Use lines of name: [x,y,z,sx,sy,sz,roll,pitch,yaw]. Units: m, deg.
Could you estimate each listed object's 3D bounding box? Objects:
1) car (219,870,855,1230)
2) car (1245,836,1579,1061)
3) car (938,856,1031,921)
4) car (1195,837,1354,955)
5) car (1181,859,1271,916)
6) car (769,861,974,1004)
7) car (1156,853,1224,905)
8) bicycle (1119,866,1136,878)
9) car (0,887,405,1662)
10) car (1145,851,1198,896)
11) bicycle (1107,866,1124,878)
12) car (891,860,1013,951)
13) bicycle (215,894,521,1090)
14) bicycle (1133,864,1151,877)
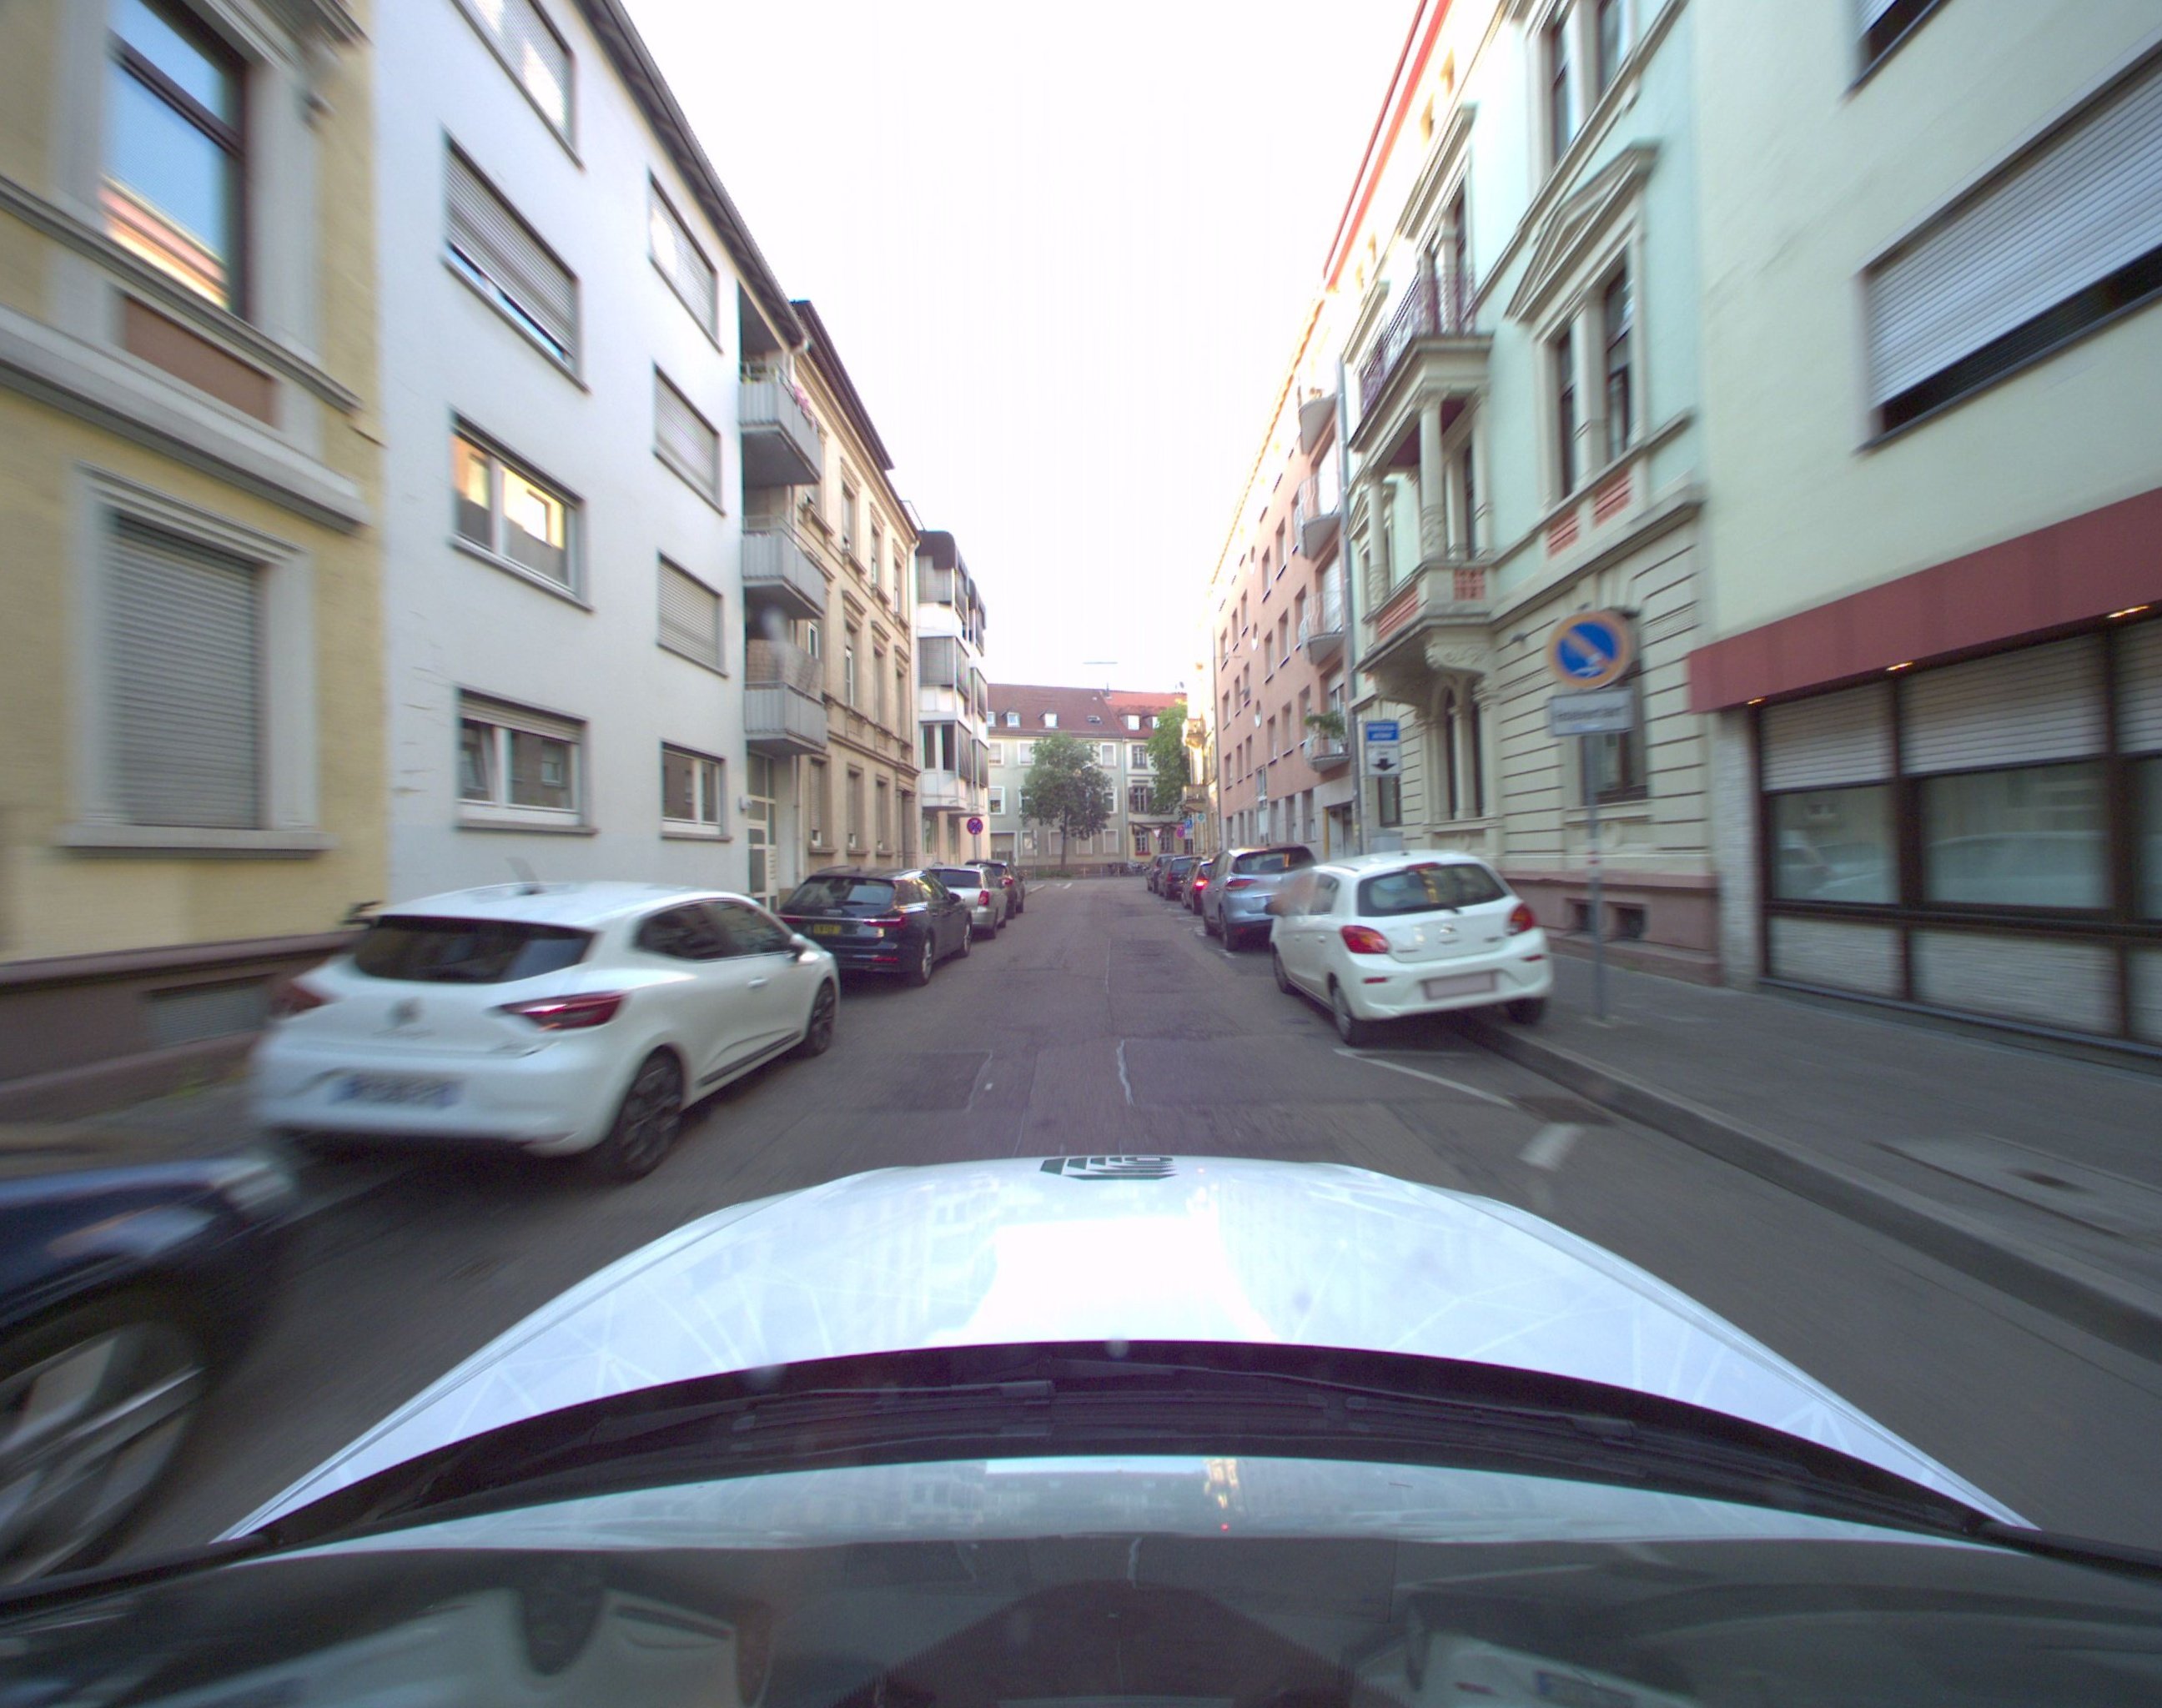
car: [-2.932,0.907,5.477,1.624,1.472,3.756,-2,0,2]
car: [2.838,0.703,7.933,1.656,1.458,3.761,-8,0,2]
car: [-2.678,0.933,23.582,1.985,1.662,3.980,-2,-1,3]
car: [3.223,0.662,14.426,1.985,1.732,4.062,-2,-1,3]
car: [3.918,0.872,22.610,1.985,1.384,3.709,-2,-1,3]
car: [-2.693,0.921,11.524,1.608,1.570,4.305,-2,0,2]
car: [3.924,0.883,29.966,1.987,1.708,4.000,-2,-1,1]
bicycle: [3.725,1.458,65.500,0.521,0.894,1.708,0,-2,-31]
car: [-3.075,0.887,0.664,1.721,1.509,3.832,-2,0,2]
car: [3.823,0.793,35.069,1.985,1.761,4.003,-2,-1,3]
bicycle: [2.840,1.453,66.988,0.521,0.949,1.708,0,-2,-31]
car: [-2.614,0.995,17.609,1.988,1.666,4.406,-2,-1,-1]
bicycle: [-5.535,0.984,6.549,0.521,1.200,2.123,-3,-1,1]
bicycle: [4.972,1.352,66.140,0.521,0.949,1.708,-3,-1,-31]
